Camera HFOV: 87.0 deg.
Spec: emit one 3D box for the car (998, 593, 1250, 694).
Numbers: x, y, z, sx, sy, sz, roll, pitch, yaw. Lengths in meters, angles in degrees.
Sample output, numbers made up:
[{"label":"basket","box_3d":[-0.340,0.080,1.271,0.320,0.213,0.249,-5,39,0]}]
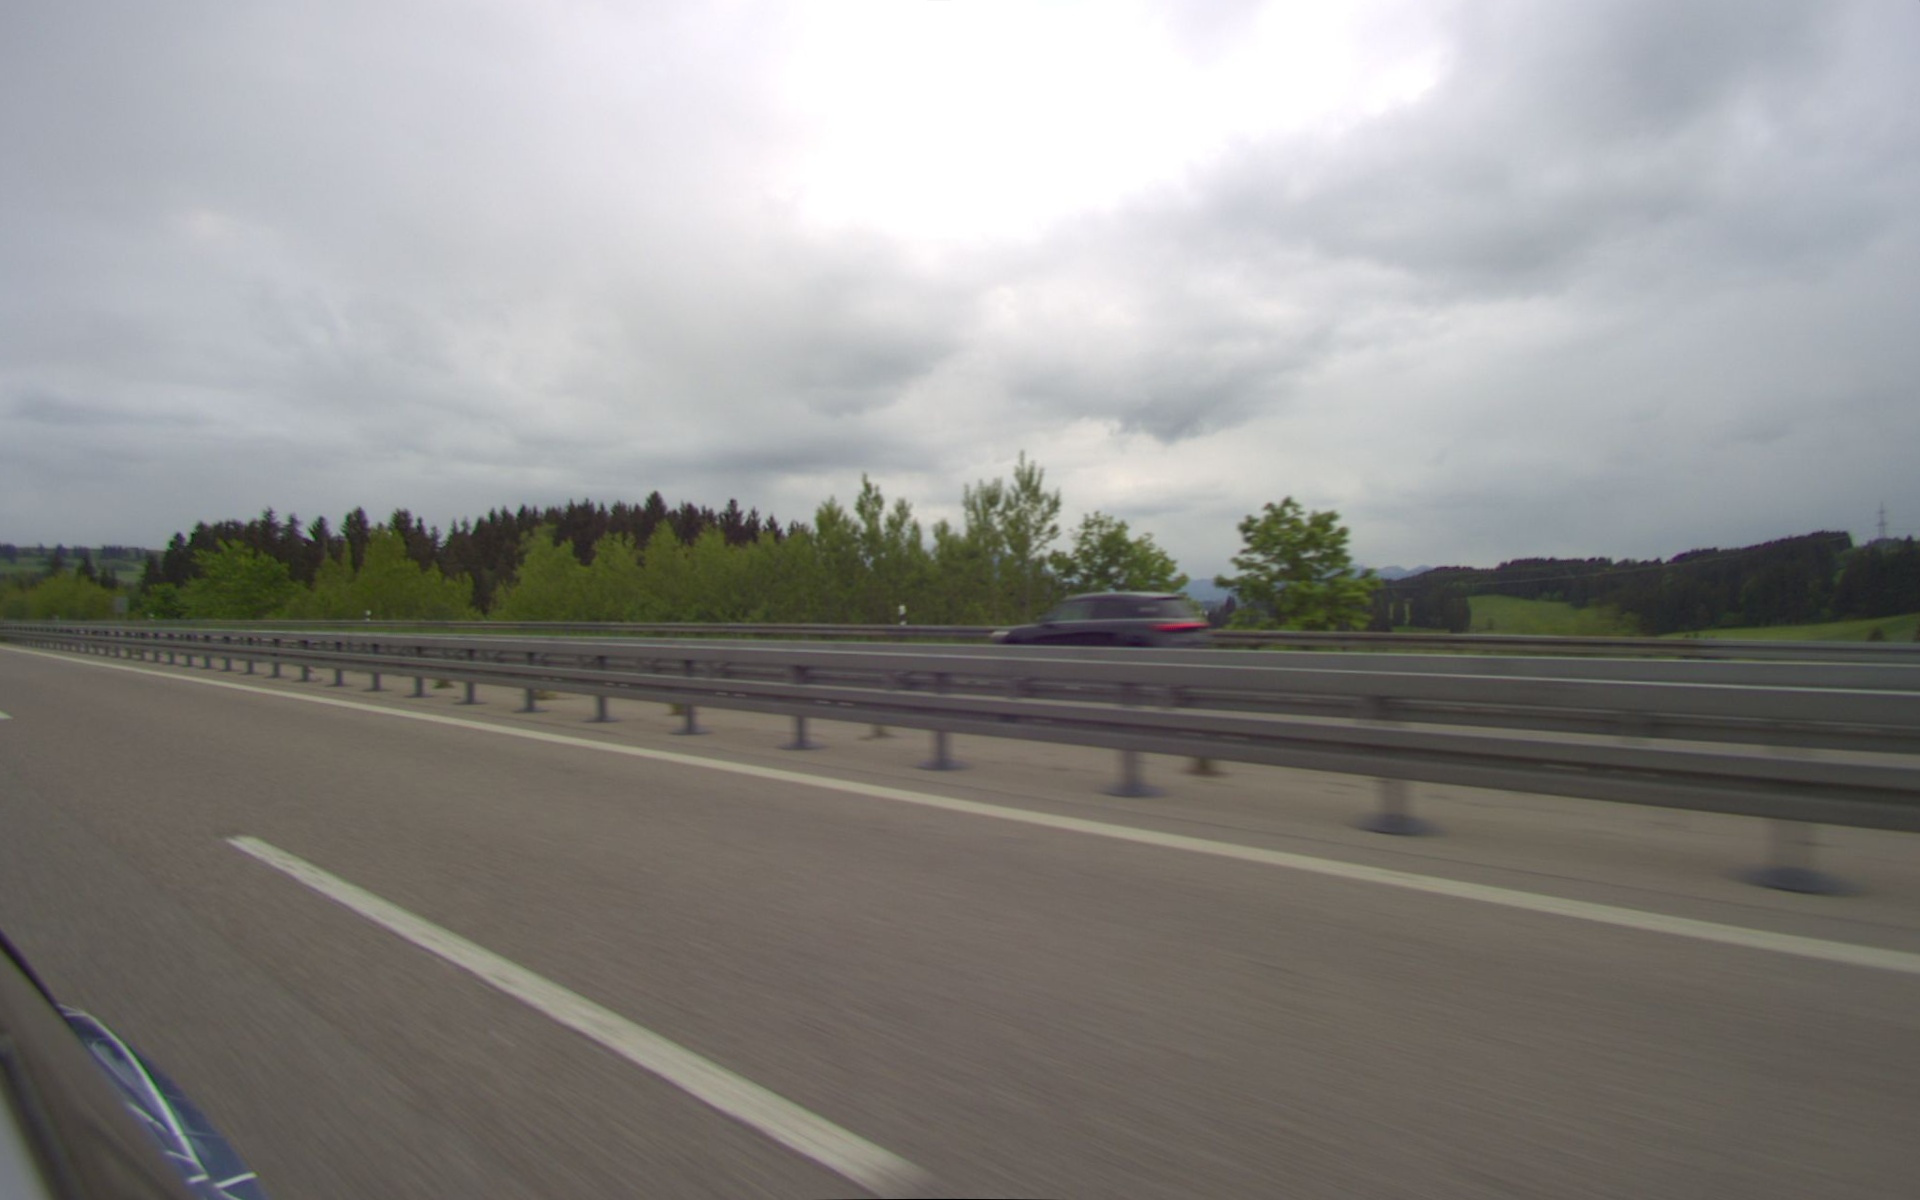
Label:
[{"label":"car","box_3d":[2.943,0.729,18.642,4.226,1.625,1.880,-1,0,41]}]
